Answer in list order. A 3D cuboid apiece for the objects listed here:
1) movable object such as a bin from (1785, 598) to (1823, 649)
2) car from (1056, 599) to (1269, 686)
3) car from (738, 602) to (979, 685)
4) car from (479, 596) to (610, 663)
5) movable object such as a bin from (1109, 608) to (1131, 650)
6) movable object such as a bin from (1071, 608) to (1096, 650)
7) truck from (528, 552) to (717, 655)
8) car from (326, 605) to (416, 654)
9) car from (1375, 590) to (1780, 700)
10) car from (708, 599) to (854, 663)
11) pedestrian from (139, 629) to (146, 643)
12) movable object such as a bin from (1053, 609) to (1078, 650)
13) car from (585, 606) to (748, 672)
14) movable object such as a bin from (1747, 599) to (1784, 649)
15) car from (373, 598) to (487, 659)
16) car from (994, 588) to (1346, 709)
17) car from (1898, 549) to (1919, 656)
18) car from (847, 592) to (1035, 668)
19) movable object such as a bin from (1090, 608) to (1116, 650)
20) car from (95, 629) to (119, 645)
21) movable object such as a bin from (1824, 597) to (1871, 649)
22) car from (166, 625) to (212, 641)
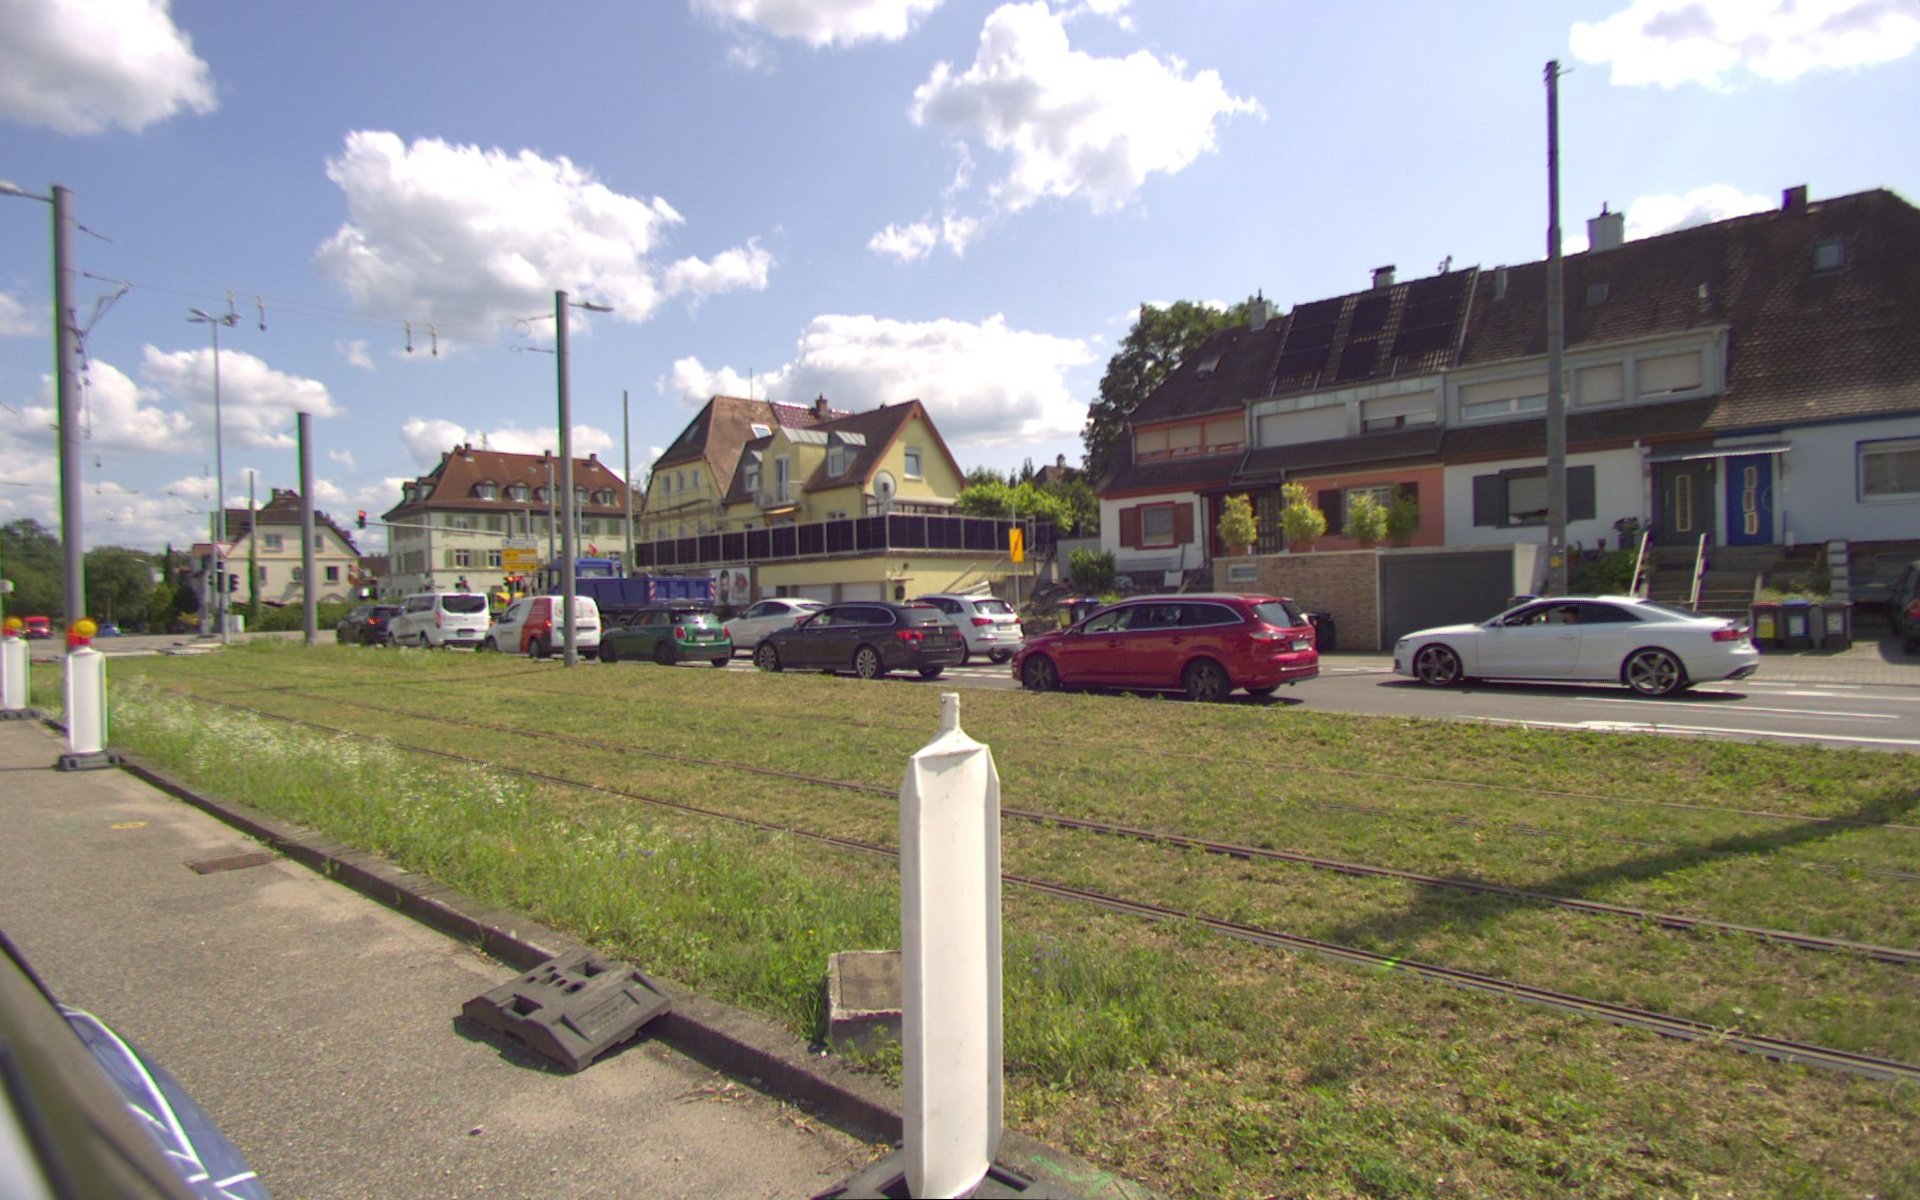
[{"bbox_3d":[15.900,0.441,19.060,0.517,0.940,0.674,-1,0,41],"label":"movable object such as a bin"},{"bbox_3d":[3.882,0.774,19.687,3.655,1.505,1.823,-1,0,42],"label":"car"},{"bbox_3d":[-2.104,0.799,19.802,4.914,1.424,1.824,-1,0,41],"label":"car"},{"bbox_3d":[-12.079,0.837,29.277,4.402,1.795,1.715,-1,-1,41],"label":"car"},{"bbox_3d":[4.544,0.824,28.772,0.441,1.191,0.441,-1,-1,37],"label":"movable object such as a bin"},{"bbox_3d":[3.599,0.850,29.487,0.573,1.205,0.441,-1,-1,37],"label":"movable object such as a bin"},{"bbox_3d":[-11.833,0.160,35.065,7.578,3.212,2.740,-1,0,41],"label":"truck"},{"bbox_3d":[-22.723,1.143,38.969,4.440,1.734,1.767,-3,-1,43],"label":"car"},{"bbox_3d":[8.854,0.594,14.832,4.779,1.353,1.823,-1,0,44],"label":"car"},{"bbox_3d":[-5.180,0.849,28.981,4.438,1.672,1.823,-1,0,43],"label":"car"},{"bbox_3d":[-91.443,4.068,113.234,0.622,1.547,0.619,-1,-1,-40],"label":"pedestrian"},{"bbox_3d":[3.107,0.863,29.865,0.573,1.193,0.441,-1,-1,37],"label":"movable object such as a bin"},{"bbox_3d":[-7.117,0.893,24.368,3.998,1.429,1.895,-1,0,41],"label":"car"},{"bbox_3d":[15.463,0.458,19.416,0.517,0.940,0.674,-1,0,41],"label":"movable object such as a bin"},{"bbox_3d":[-18.104,0.948,34.477,4.745,1.936,1.795,-2,0,41],"label":"car"},{"bbox_3d":[2.940,0.645,14.989,4.855,1.505,1.823,-1,0,42],"label":"car"},{"bbox_3d":[17.903,-0.028,17.992,1.603,1.605,3.352,-1,5,40],"label":"car"},{"bbox_3d":[-0.532,0.693,24.484,4.503,1.681,1.824,-1,0,41],"label":"car"},{"bbox_3d":[4.111,0.832,29.102,0.573,1.210,0.441,-1,-1,37],"label":"movable object such as a bin"},{"bbox_3d":[-82.311,3.539,97.609,1.684,1.473,3.159,-1,-1,-41],"label":"car"},{"bbox_3d":[16.351,0.422,18.664,0.605,0.940,0.687,-1,0,39],"label":"movable object such as a bin"},{"bbox_3d":[-71.103,3.048,93.387,1.733,1.397,4.111,-2,-1,-11],"label":"car"}]
